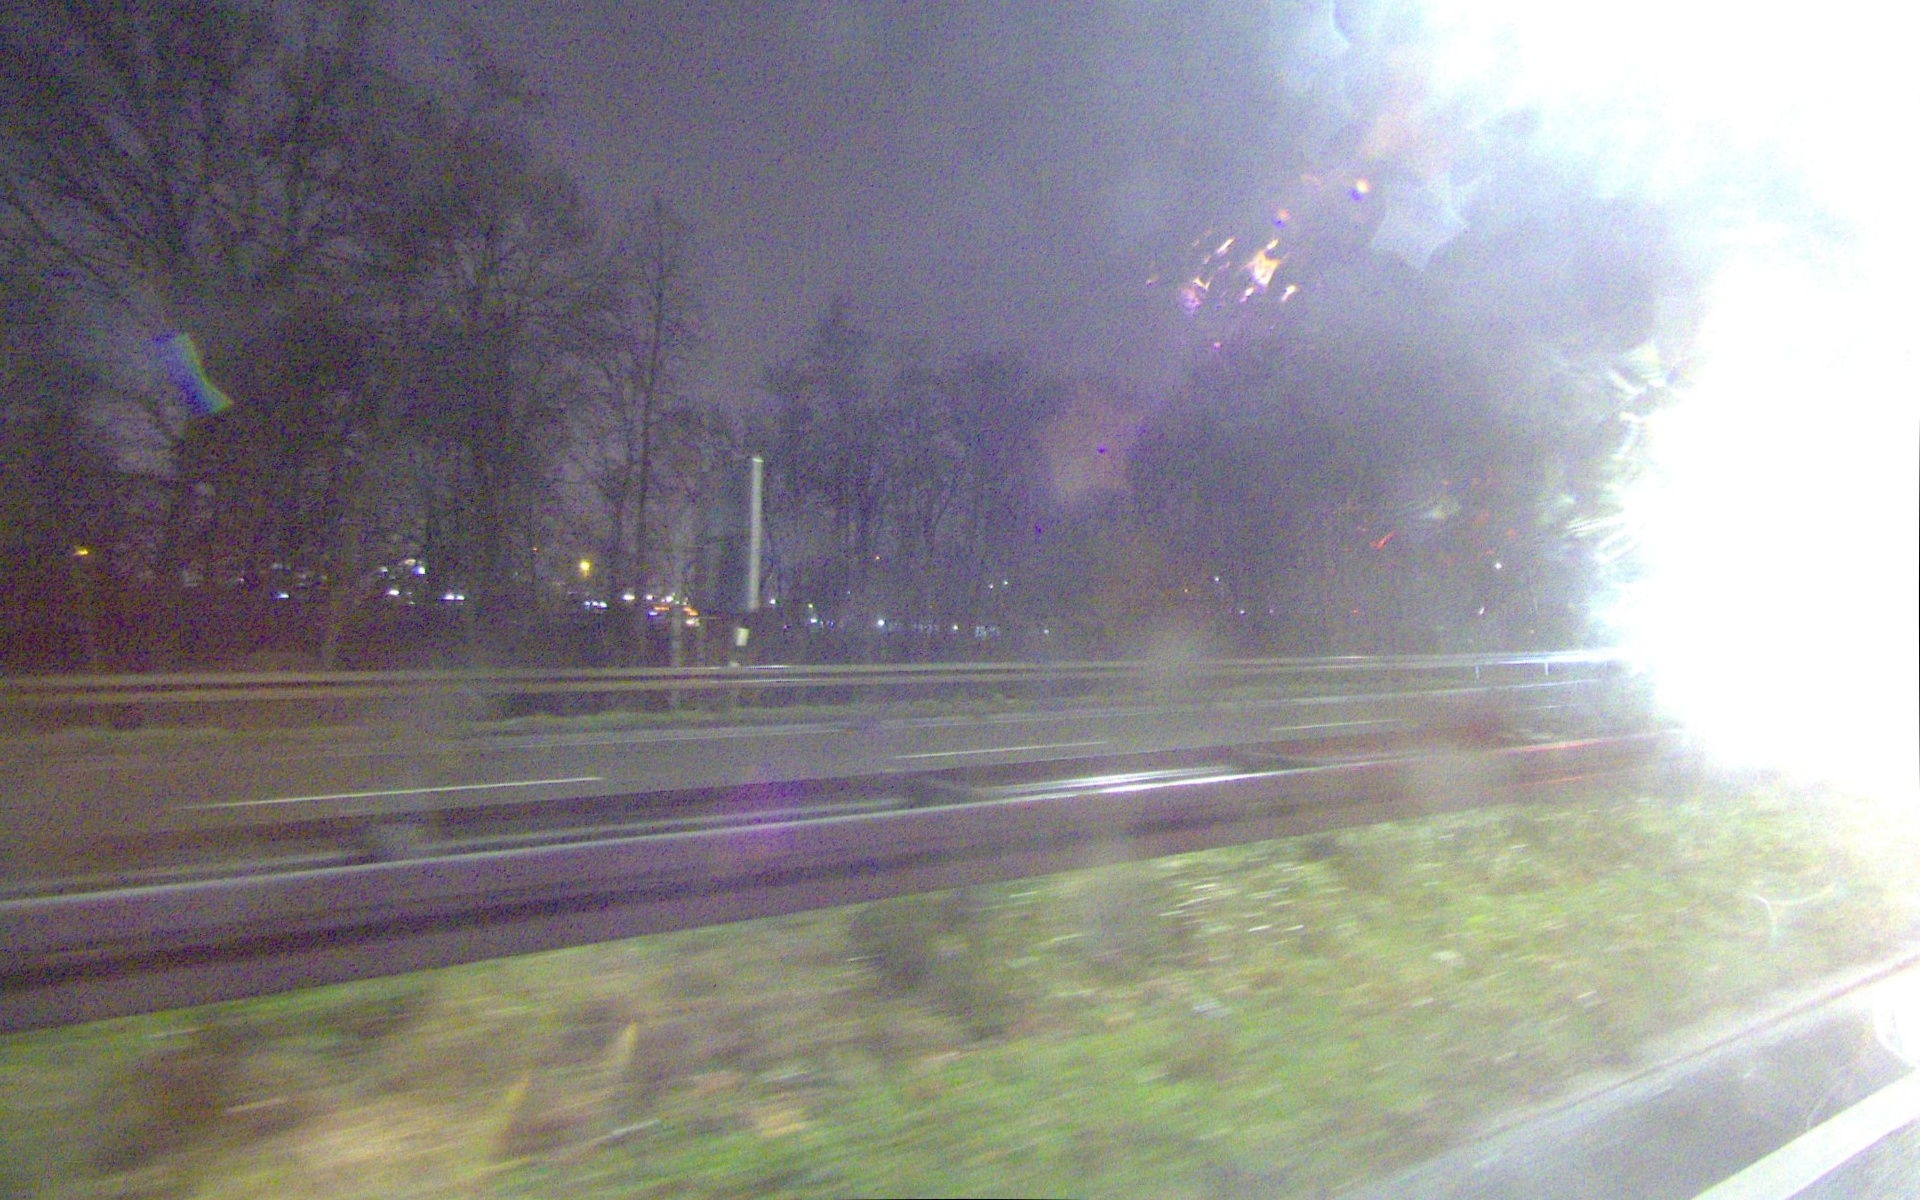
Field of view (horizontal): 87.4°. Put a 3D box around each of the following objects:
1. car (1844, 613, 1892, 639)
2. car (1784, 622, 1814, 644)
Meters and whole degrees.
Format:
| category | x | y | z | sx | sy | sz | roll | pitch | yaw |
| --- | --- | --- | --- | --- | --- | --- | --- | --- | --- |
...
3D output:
| category | x | y | z | sx | sy | sz | roll | pitch | yaw |
| --- | --- | --- | --- | --- | --- | --- | --- | --- | --- |
| car | 75.165 | 2.105 | 83.242 | 2.179 | 2.040 | 3.991 | 1 | 0 | 31 |
| car | 67.027 | 2.622 | 80.310 | 1.765 | 1.668 | 3.982 | 1 | -1 | 39 |
